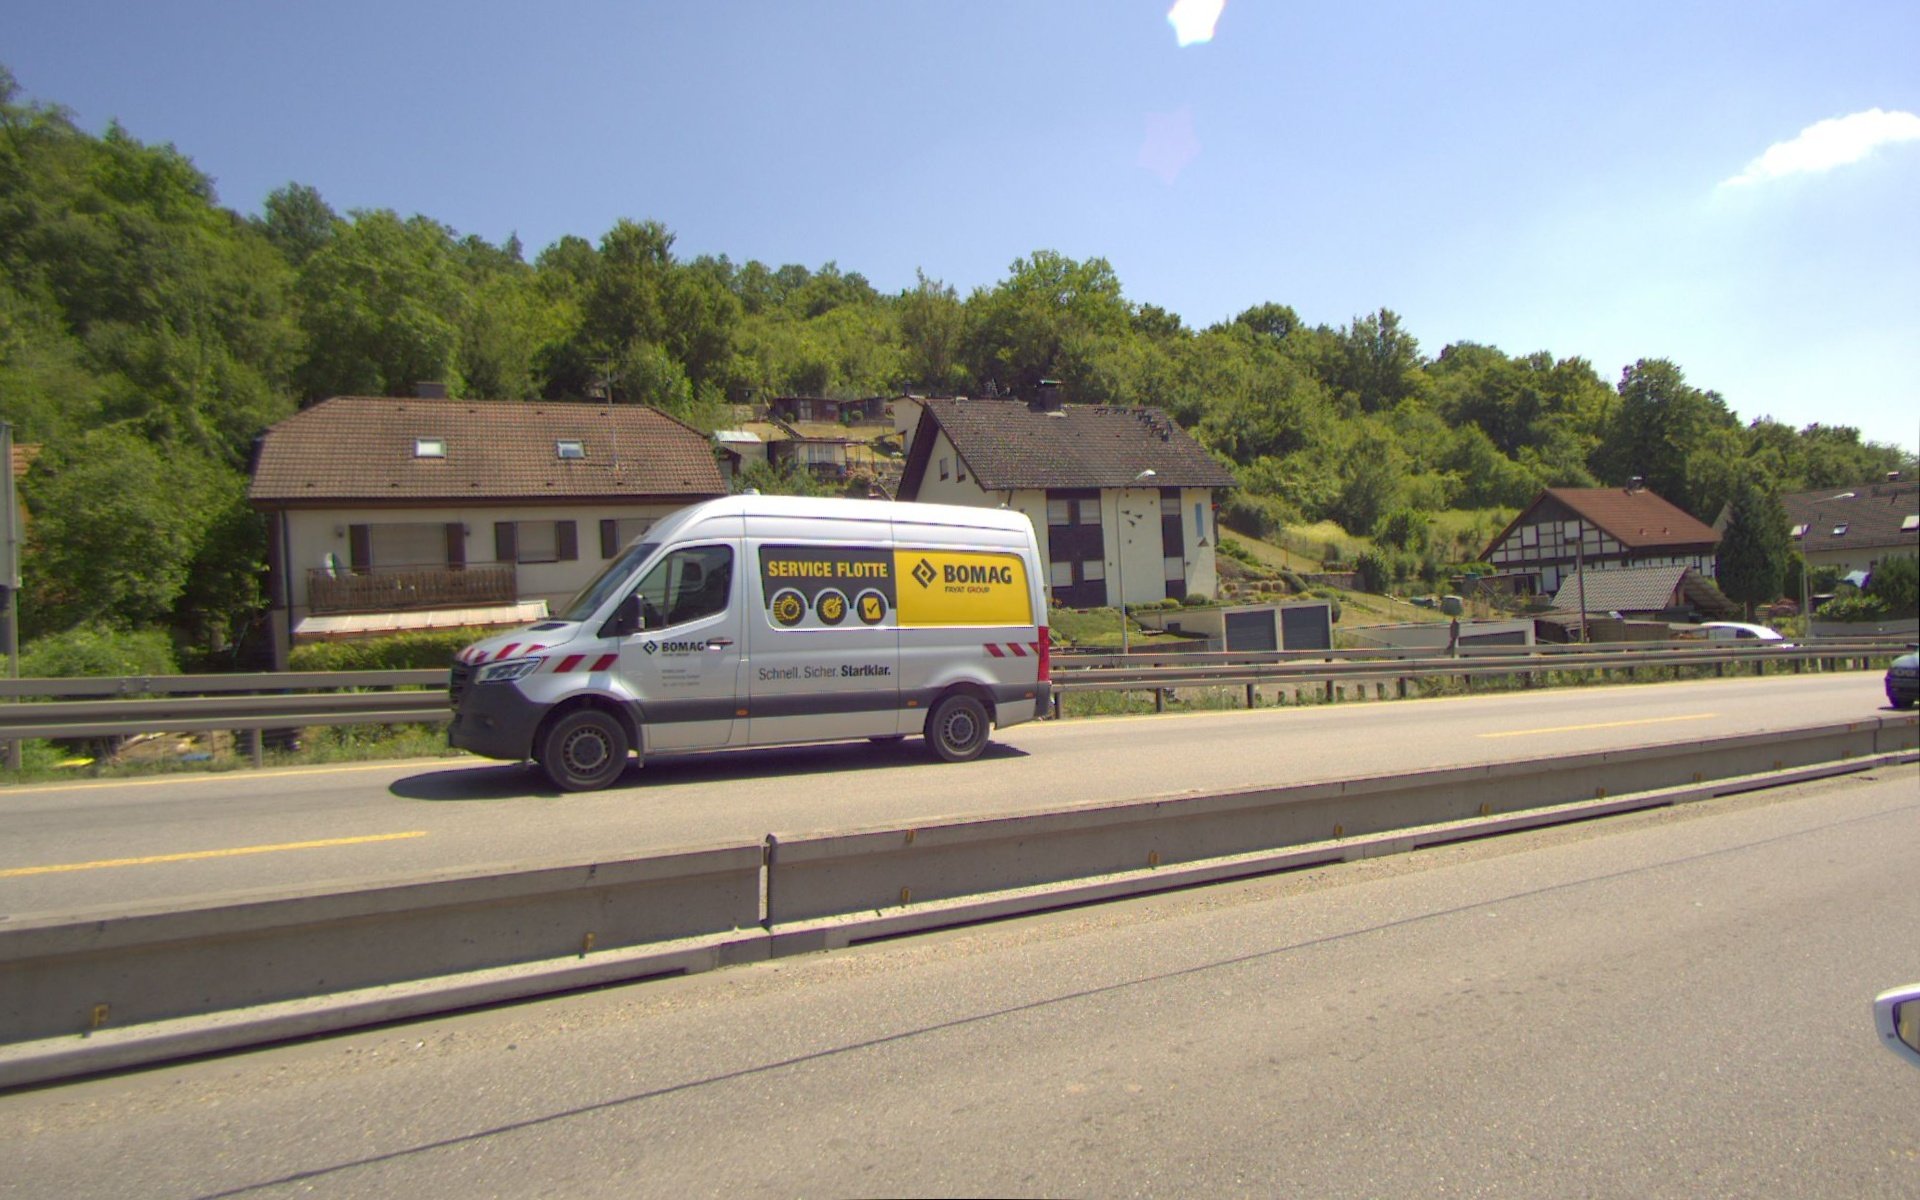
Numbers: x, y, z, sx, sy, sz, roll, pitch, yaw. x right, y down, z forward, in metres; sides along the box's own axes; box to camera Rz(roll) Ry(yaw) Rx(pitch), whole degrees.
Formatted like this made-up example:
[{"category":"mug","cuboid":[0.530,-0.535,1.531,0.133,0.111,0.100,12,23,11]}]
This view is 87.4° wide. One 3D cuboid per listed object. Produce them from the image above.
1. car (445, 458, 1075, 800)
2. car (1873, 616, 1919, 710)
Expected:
[{"category":"car","cuboid":[-1.819,0.277,10.112,5.908,2.638,1.996,1,-1,-30]},{"category":"car","cuboid":[17.243,1.032,16.826,4.572,1.483,1.537,1,-1,-29]}]
